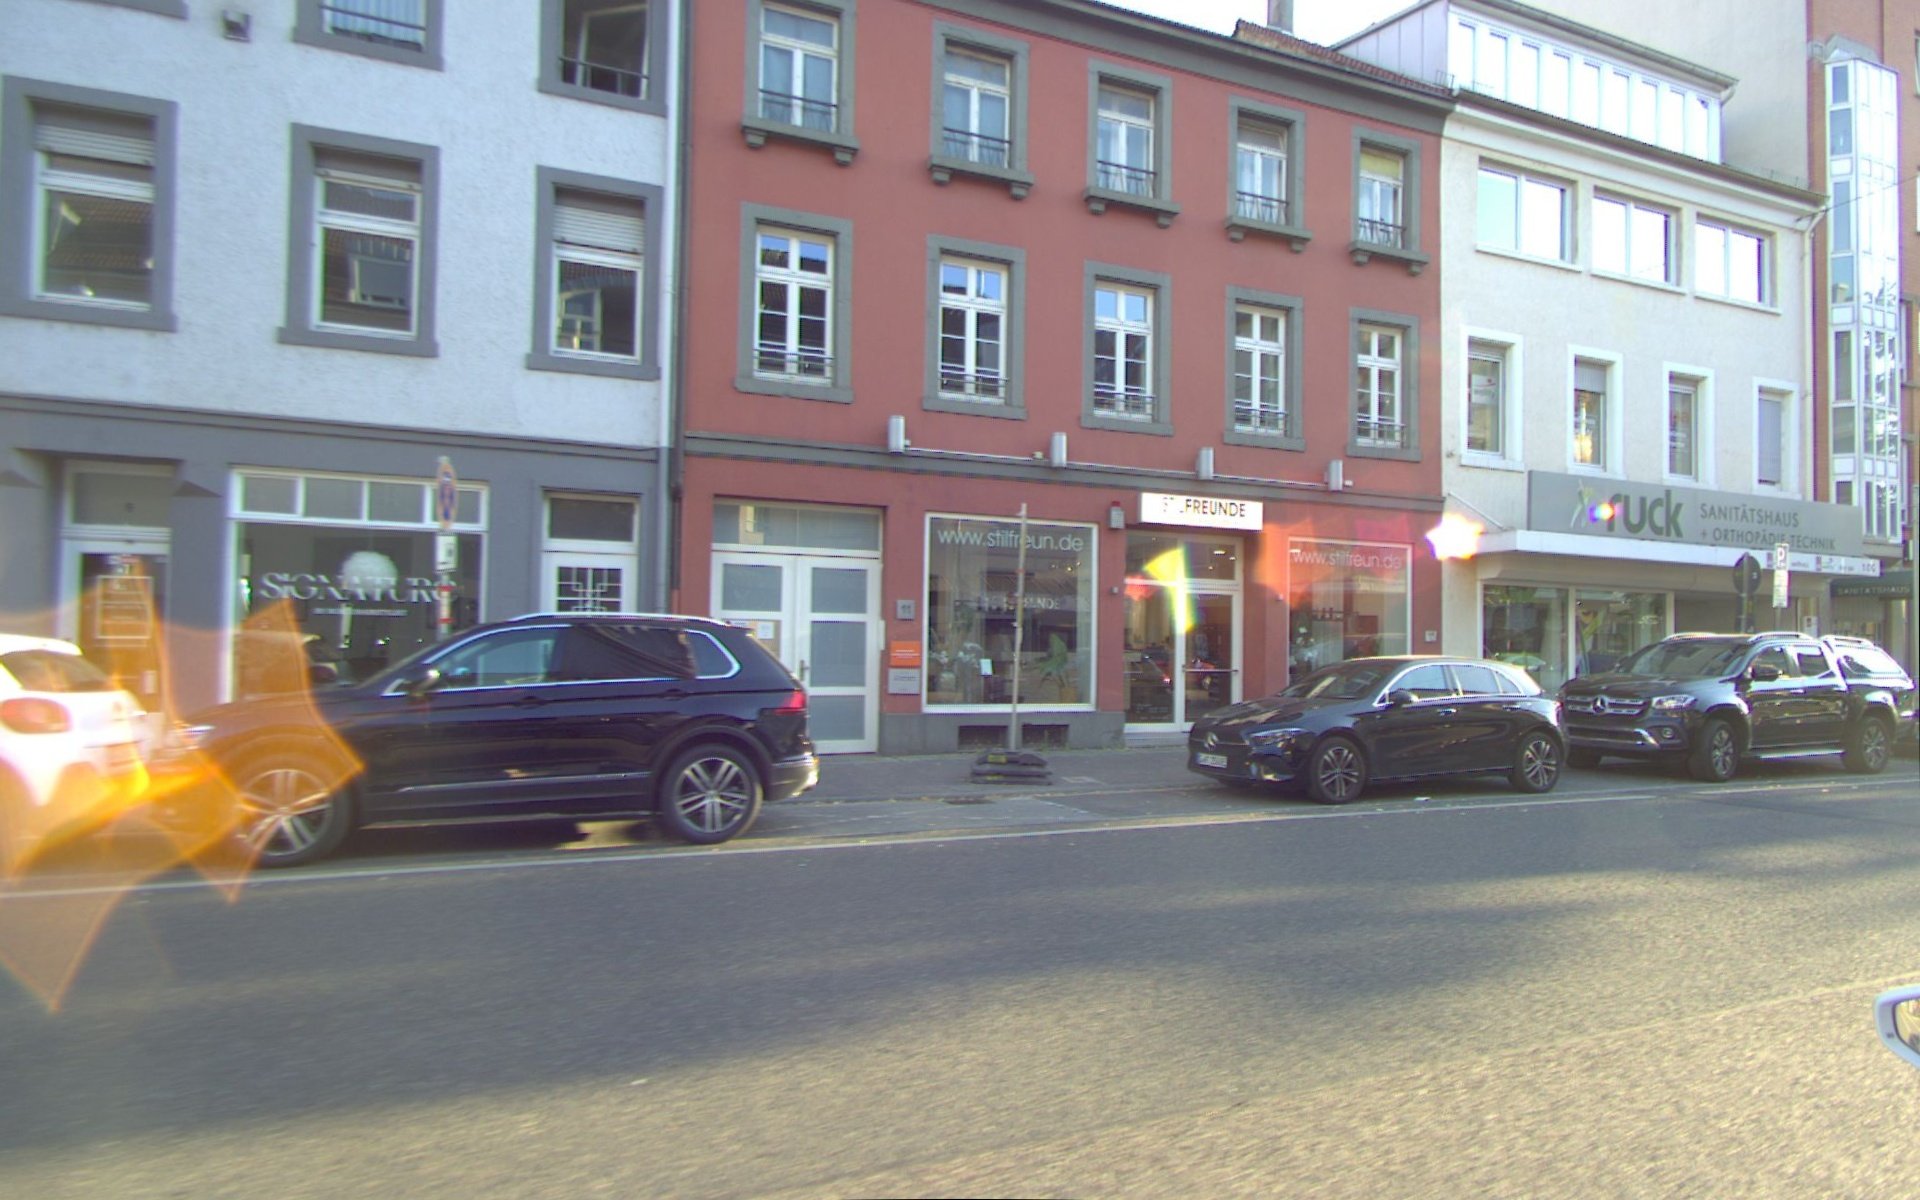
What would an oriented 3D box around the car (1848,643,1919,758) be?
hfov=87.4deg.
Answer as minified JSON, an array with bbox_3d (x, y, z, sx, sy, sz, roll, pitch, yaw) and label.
[{"bbox_3d":[16.275,1.538,15.453,4.558,1.676,1.991,2,-3,-20],"label":"car"}]

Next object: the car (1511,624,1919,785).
[{"bbox_3d":[10.022,1.305,13.279,5.243,1.800,1.990,2,-3,-23],"label":"car"}]

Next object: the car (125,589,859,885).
[{"bbox_3d":[-3.126,0.922,7.542,4.395,1.720,1.792,2,-4,-22],"label":"car"}]

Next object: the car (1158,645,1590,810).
[{"bbox_3d":[4.456,1.292,10.824,4.346,1.507,1.683,2,-5,-22],"label":"car"}]

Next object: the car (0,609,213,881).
[{"bbox_3d":[-7.270,0.858,6.198,3.875,1.593,1.660,2,-4,-20],"label":"car"}]
